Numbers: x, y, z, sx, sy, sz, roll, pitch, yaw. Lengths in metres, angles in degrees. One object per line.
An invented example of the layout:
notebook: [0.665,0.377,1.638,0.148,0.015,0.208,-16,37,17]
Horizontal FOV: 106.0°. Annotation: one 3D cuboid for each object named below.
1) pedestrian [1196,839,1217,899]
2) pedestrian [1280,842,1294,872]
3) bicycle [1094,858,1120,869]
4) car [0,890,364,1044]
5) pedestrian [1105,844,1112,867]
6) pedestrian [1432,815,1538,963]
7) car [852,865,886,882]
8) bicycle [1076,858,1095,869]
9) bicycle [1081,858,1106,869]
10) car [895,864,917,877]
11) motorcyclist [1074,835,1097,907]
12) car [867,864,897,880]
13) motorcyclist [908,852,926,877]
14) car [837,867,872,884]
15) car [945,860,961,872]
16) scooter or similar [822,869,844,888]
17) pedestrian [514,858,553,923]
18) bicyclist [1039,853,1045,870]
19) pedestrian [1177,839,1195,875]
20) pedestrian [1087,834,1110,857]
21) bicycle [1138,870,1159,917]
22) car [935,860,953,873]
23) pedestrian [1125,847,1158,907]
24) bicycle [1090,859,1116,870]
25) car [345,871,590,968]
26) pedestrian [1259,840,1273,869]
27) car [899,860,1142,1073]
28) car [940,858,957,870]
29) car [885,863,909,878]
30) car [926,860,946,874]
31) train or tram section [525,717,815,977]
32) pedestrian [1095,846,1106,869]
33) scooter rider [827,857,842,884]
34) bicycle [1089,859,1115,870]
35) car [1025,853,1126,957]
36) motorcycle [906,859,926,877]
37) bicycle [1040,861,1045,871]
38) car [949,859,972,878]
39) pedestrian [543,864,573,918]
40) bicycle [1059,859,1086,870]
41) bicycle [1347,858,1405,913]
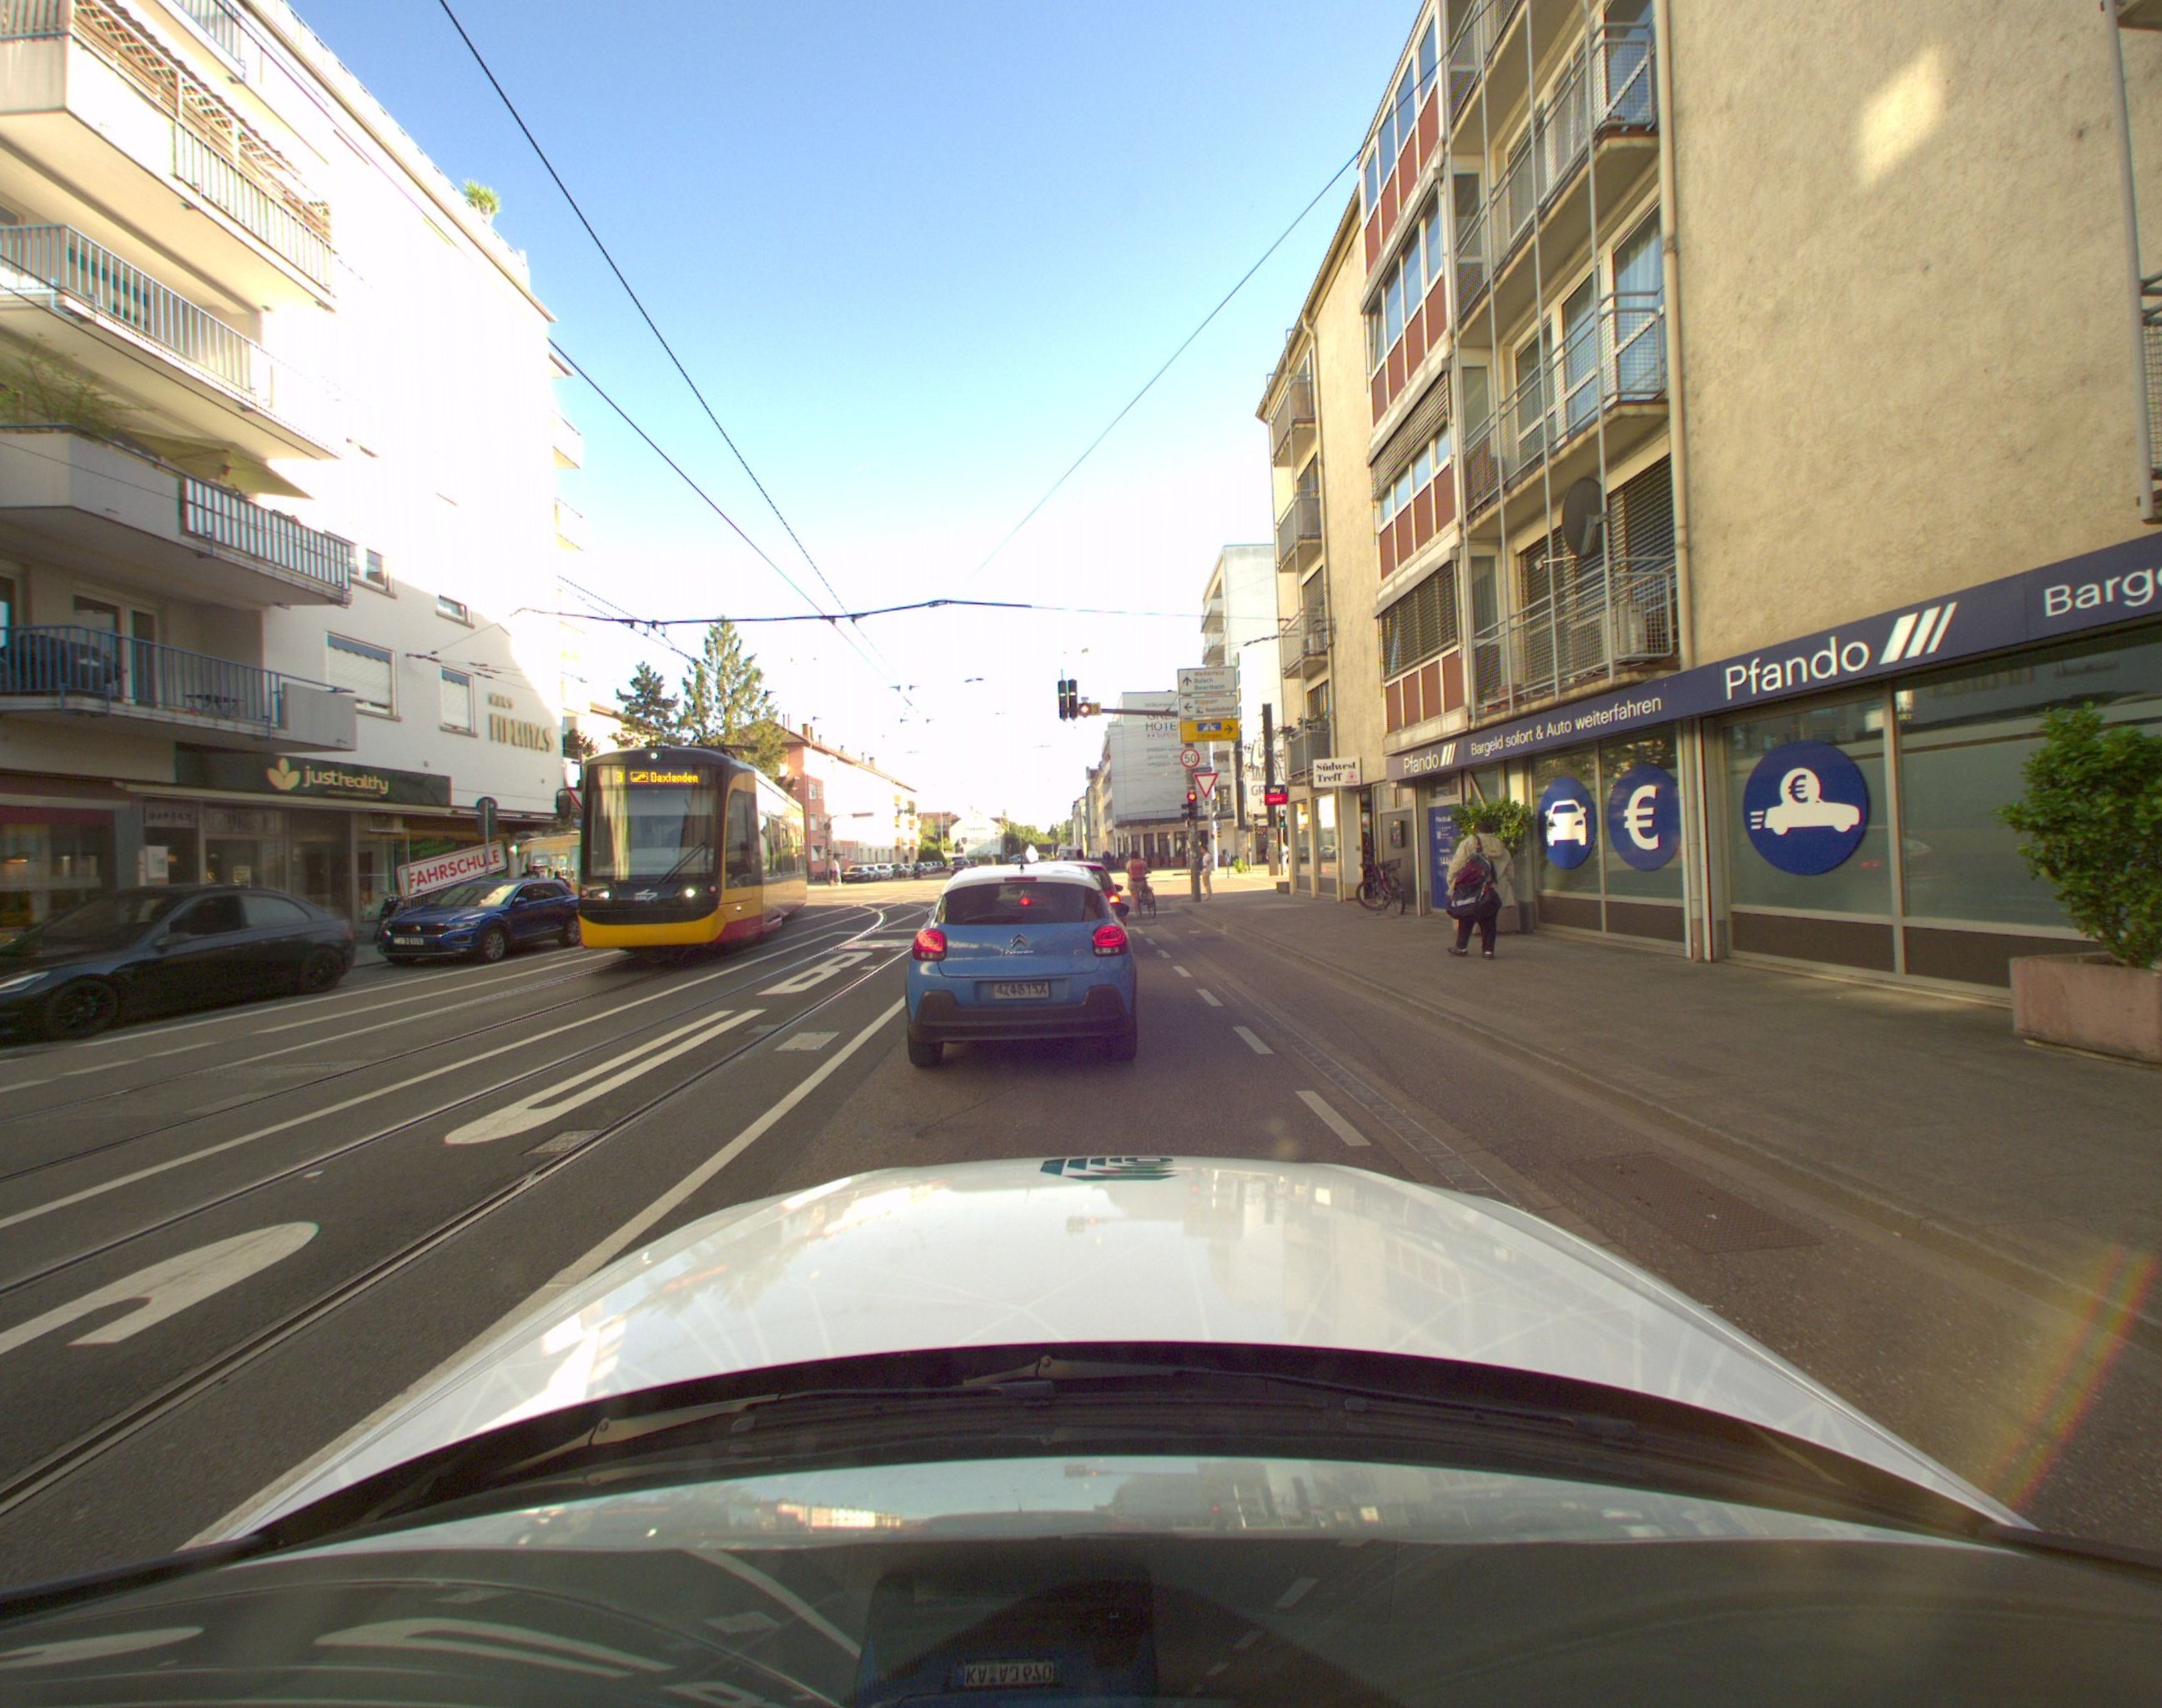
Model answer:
pedestrian: [3.751,0.440,24.373,0.515,1.783,0.595,0,-1,0]
pedestrian: [11.596,0.187,45.851,0.746,1.657,0.887,-1,-1,16]
bicycle: [2.098,0.766,65.992,2.130,0.901,0.366,0,-1,-7]
car: [-12.040,1.291,10.437,1.816,1.387,4.425,-2,0,-2]
pedestrian: [2.409,0.144,70.456,0.575,2.014,0.625,0,-1,-1]
pedestrian: [4.549,0.383,9.228,0.822,1.593,0.751,0,-1,1]
car: [-19.291,1.781,74.212,1.808,1.498,4.302,0,0,2]
bicycle: [0.387,0.820,69.534,1.765,0.901,0.369,-1,-1,36]
bicycle: [1.057,0.819,68.456,2.130,0.901,0.366,0,-1,-7]
car: [-19.930,1.847,92.765,1.728,1.498,3.996,0,-1,-2]
motorcyclist: [0.124,0.402,19.742,0.524,1.716,0.717,0,-1,2]
car: [-19.462,1.740,79.829,1.781,1.511,4.150,0,-1,1]
motorcyclist: [-13.605,0.898,67.573,1.182,2.013,1.275,-2,0,-1]
car: [-19.265,1.811,69.435,1.787,1.421,3.996,0,0,1]
car: [-19.167,1.761,121.980,1.841,1.687,3.872,0,-1,-1]
scooter or similar: [-17.159,1.675,56.351,1.361,1.269,0.438,0,-2,-41]
pedestrian: [-17.146,1.123,25.515,0.767,2.014,0.694,0,-1,-4]
bicyclist: [-3.385,0.616,70.499,0.560,1.477,0.746,0,-1,-5]
pedestrian: [6.041,0.172,46.967,0.922,2.014,0.760,0,-1,1]
pedestrian: [1.635,-0.729,73.683,1.986,2.014,4.001,0,-1,2]
bicycle: [1.709,0.975,20.672,0.426,1.123,1.999,0,-1,2]
car: [-18.857,1.678,111.909,1.877,1.687,3.998,0,-1,-1]
pedestrian: [1.500,0.564,20.353,0.774,1.460,0.682,0,-1,1]
bicycle: [1.809,0.864,67.224,2.130,0.901,0.366,0,-1,-7]
car: [-11.955,1.186,16.292,1.864,1.531,4.068,-2,0,-2]
pedestrian: [10.540,0.033,46.294,0.730,1.601,0.751,-1,-1,15]
car: [-0.356,0.779,7.304,1.648,1.444,3.524,0,-1,2]
car: [-19.003,1.370,117.252,1.828,1.687,3.998,0,-1,-1]
car: [-19.572,1.773,86.714,1.781,1.498,3.998,0,-1,-1]
car: [-18.912,1.670,106.567,1.978,1.687,3.998,0,-1,-1]
train or tram section: [-7.804,-0.055,17.746,3.068,3.594,12.563,-2,0,-15]
pedestrian: [1.669,0.294,69.349,0.635,2.014,0.717,0,-1,-34]
scooter rider: [-17.091,1.129,56.458,0.728,1.833,0.709,0,-2,-40]
bicycle: [1.752,0.888,67.642,2.130,0.901,0.366,0,-1,-7]
car: [-0.036,0.756,13.318,1.419,1.467,2.925,-2,-1,2]
motorcycle: [-13.582,1.147,67.131,0.921,1.486,3.724,0,-1,-1]
bicycle: [-3.363,1.029,70.463,0.348,0.903,1.855,0,-1,-6]
car: [-11.335,1.340,76.871,1.770,1.666,3.854,0,-1,-2]
pedestrian: [-17.845,1.258,27.808,0.569,1.805,0.699,0,-1,1]
bicycle: [-0.708,0.876,66.406,2.130,0.901,0.366,0,-1,-7]
bicycle: [5.701,0.581,15.807,0.540,0.998,1.706,0,-1,2]
